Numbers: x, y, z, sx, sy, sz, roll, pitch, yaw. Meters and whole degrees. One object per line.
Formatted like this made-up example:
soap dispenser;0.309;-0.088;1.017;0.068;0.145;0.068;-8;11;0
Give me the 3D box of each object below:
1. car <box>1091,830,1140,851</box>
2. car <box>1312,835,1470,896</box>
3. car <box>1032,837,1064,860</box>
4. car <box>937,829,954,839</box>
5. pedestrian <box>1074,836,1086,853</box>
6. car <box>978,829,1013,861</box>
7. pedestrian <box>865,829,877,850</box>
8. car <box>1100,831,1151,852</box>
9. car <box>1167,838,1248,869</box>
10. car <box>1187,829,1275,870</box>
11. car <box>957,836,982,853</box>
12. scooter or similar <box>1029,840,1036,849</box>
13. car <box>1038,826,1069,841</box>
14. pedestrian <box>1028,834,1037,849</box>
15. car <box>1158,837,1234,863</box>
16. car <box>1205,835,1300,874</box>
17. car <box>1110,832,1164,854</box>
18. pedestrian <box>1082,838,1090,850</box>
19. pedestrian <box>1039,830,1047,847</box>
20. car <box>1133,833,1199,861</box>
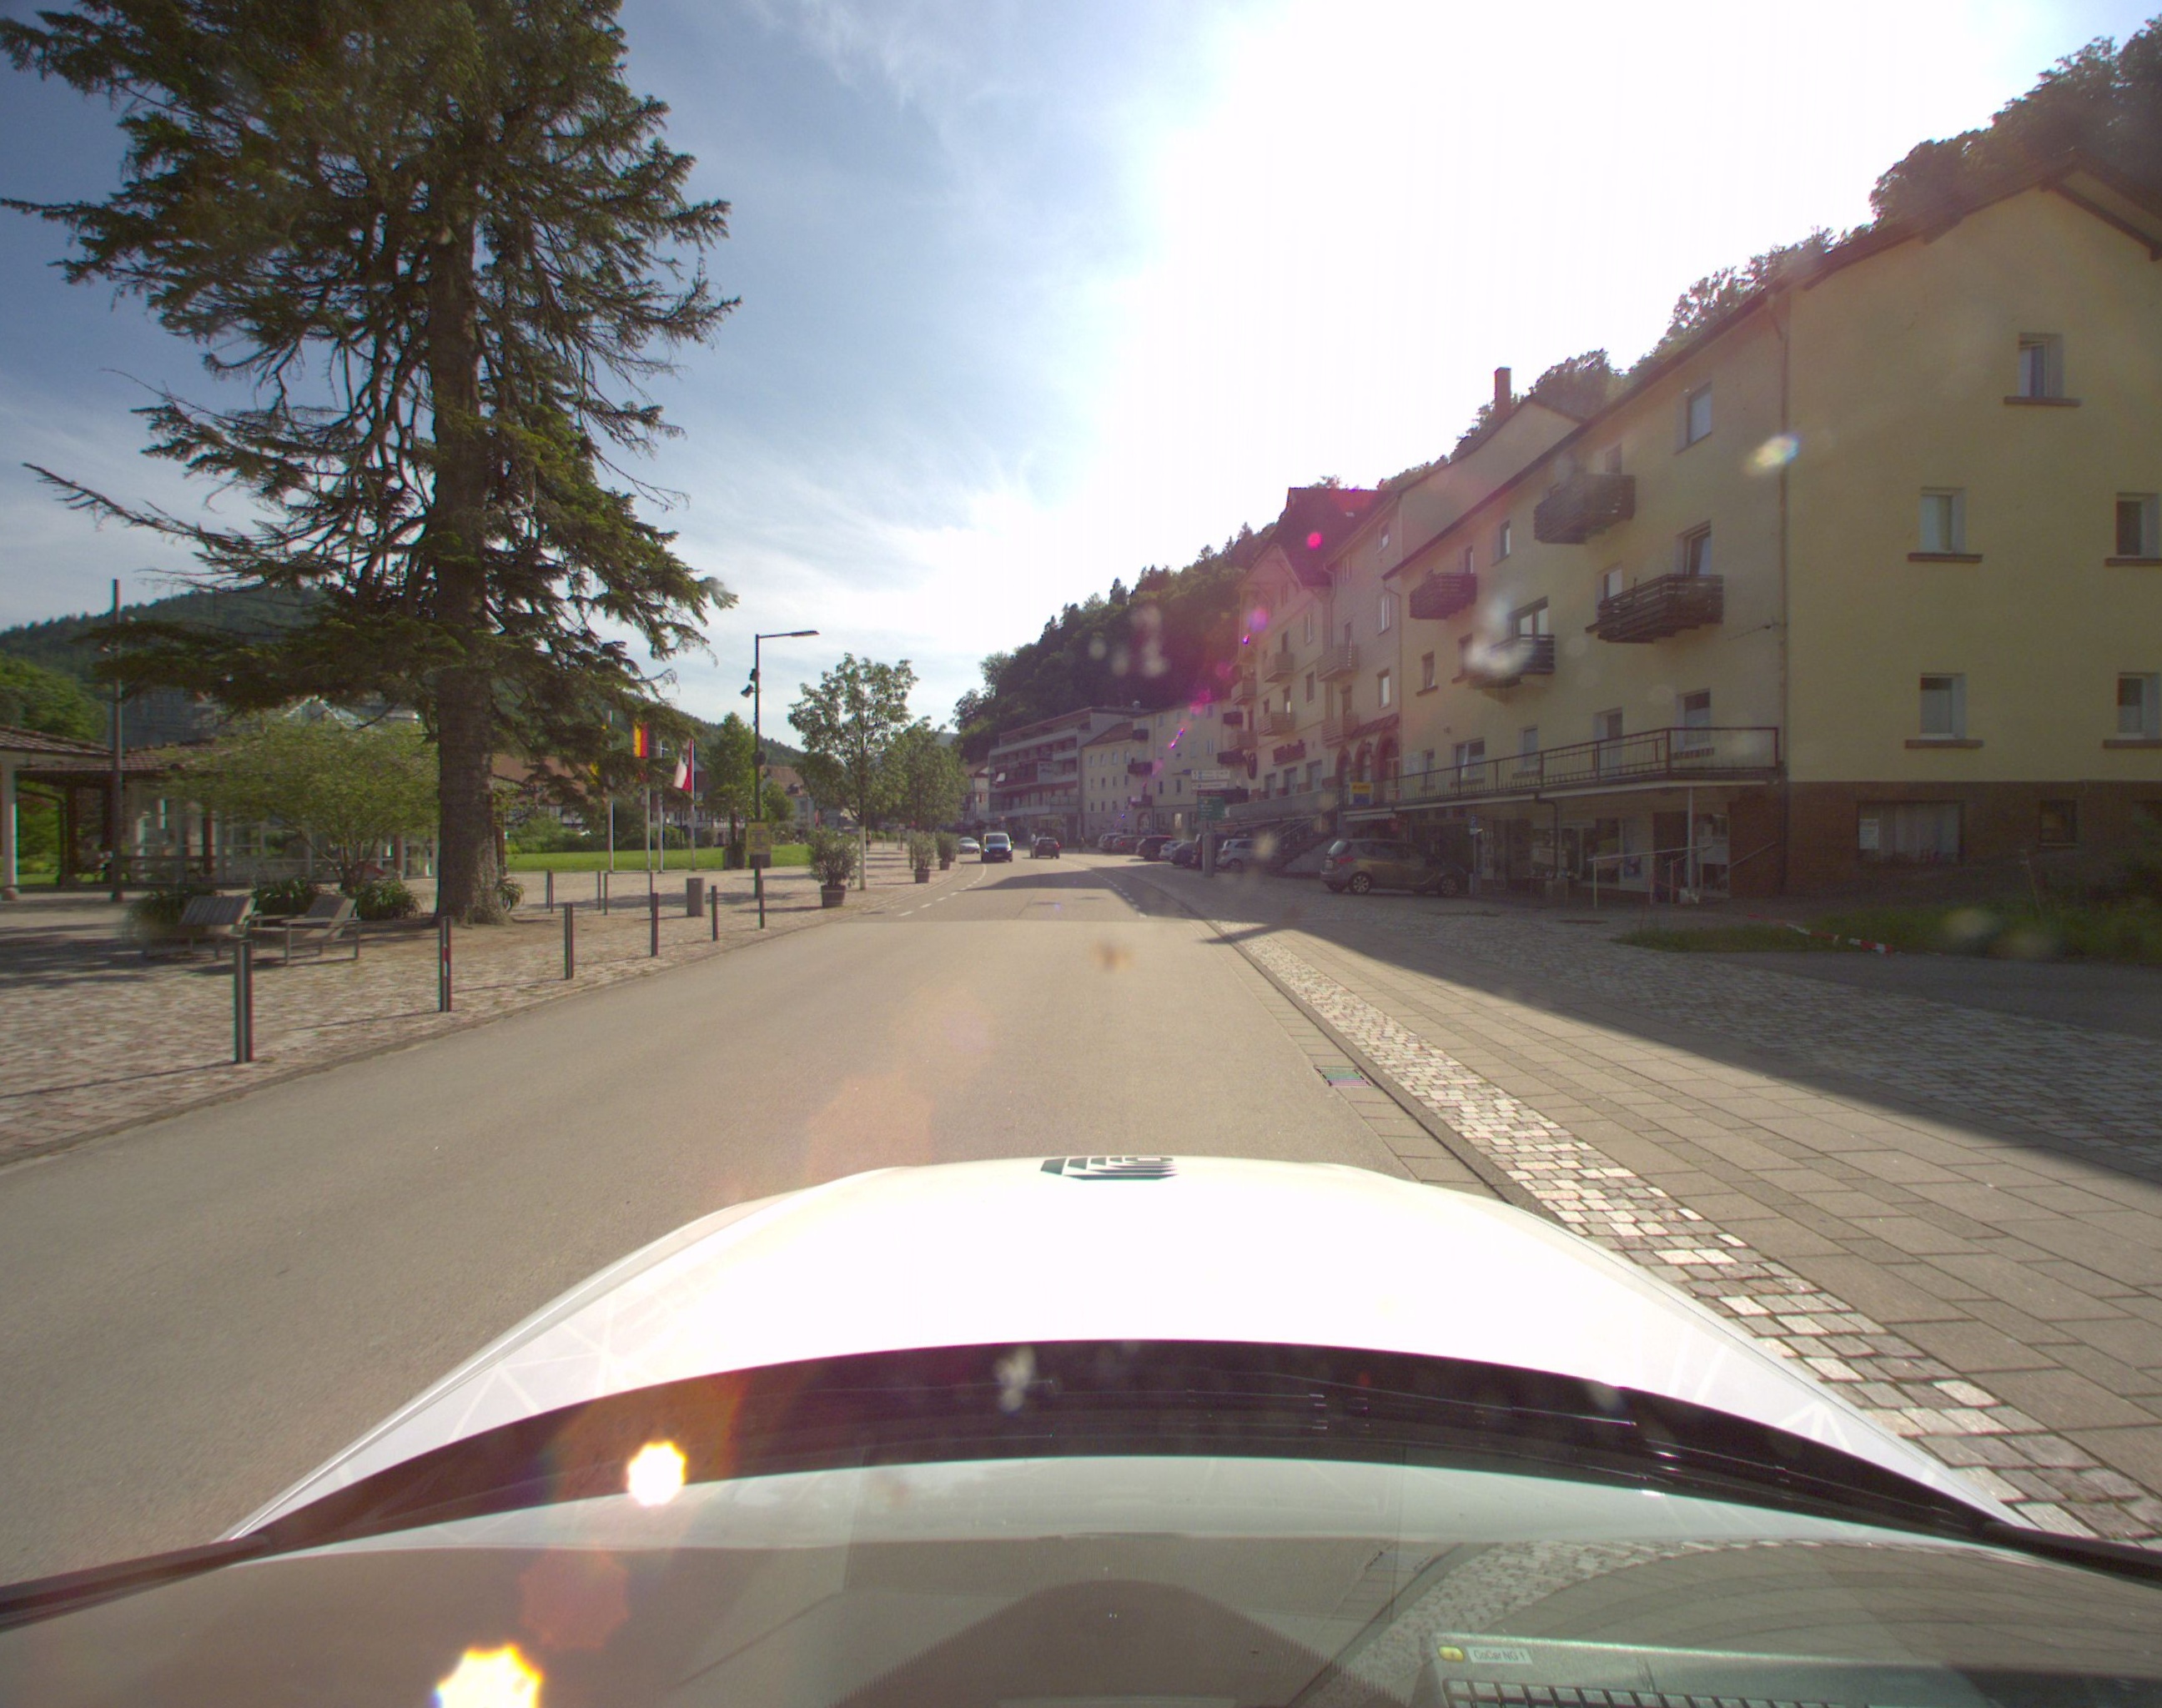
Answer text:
car;3.055;-1.189;71.460;3.878;1.612;1.759;-4;3;-23
car;8.886;0.309;23.491;3.853;1.554;1.758;2;1;-5
car;-2.503;-0.422;60.531;1.729;1.574;3.737;0;3;-13
car;-22.393;-3.247;134.396;1.685;1.620;3.966;0;1;-27
pedestrian;-0.071;-0.843;70.685;0.740;1.442;0.626;-3;2;-33
car;-5.686;-0.619;53.724;1.855;1.953;5.001;-2;1;-10
pedestrian;-18.331;-1.233;71.133;0.871;1.815;0.686;0;1;-24
car;3.780;-1.118;69.305;3.878;1.549;1.759;-4;3;-23
car;6.610;-0.029;42.760;3.900;1.460;1.735;2;1;-3
car;7.353;-0.229;40.062;3.900;1.804;1.856;3;0;-2
car;-9.907;-0.860;72.151;1.631;1.370;4.042;-3;1;-15
scooter or similar;-5.044;-0.964;84.424;0.599;0.950;0.470;0;1;-25
car;-3.074;-2.328;92.395;3.177;1.662;1.582;0;1;-23
pedestrian;-4.970;-1.297;84.254;0.761;1.593;0.623;0;1;-25
car;6.917;-0.225;49.312;4.343;1.461;1.772;1;0;0
car;7.815;0.001;37.300;3.900;1.589;1.773;2;1;-3
car;4.557;-0.893;66.010;4.027;1.515;1.759;-4;3;-23
pedestrian;0.419;-0.841;70.963;0.420;1.002;0.525;-3;2;-34
pedestrian;-3.904;-1.565;83.997;0.672;1.728;0.702;0;1;-25
car;5.634;-0.455;54.232;4.074;1.666;1.771;3;1;-3
